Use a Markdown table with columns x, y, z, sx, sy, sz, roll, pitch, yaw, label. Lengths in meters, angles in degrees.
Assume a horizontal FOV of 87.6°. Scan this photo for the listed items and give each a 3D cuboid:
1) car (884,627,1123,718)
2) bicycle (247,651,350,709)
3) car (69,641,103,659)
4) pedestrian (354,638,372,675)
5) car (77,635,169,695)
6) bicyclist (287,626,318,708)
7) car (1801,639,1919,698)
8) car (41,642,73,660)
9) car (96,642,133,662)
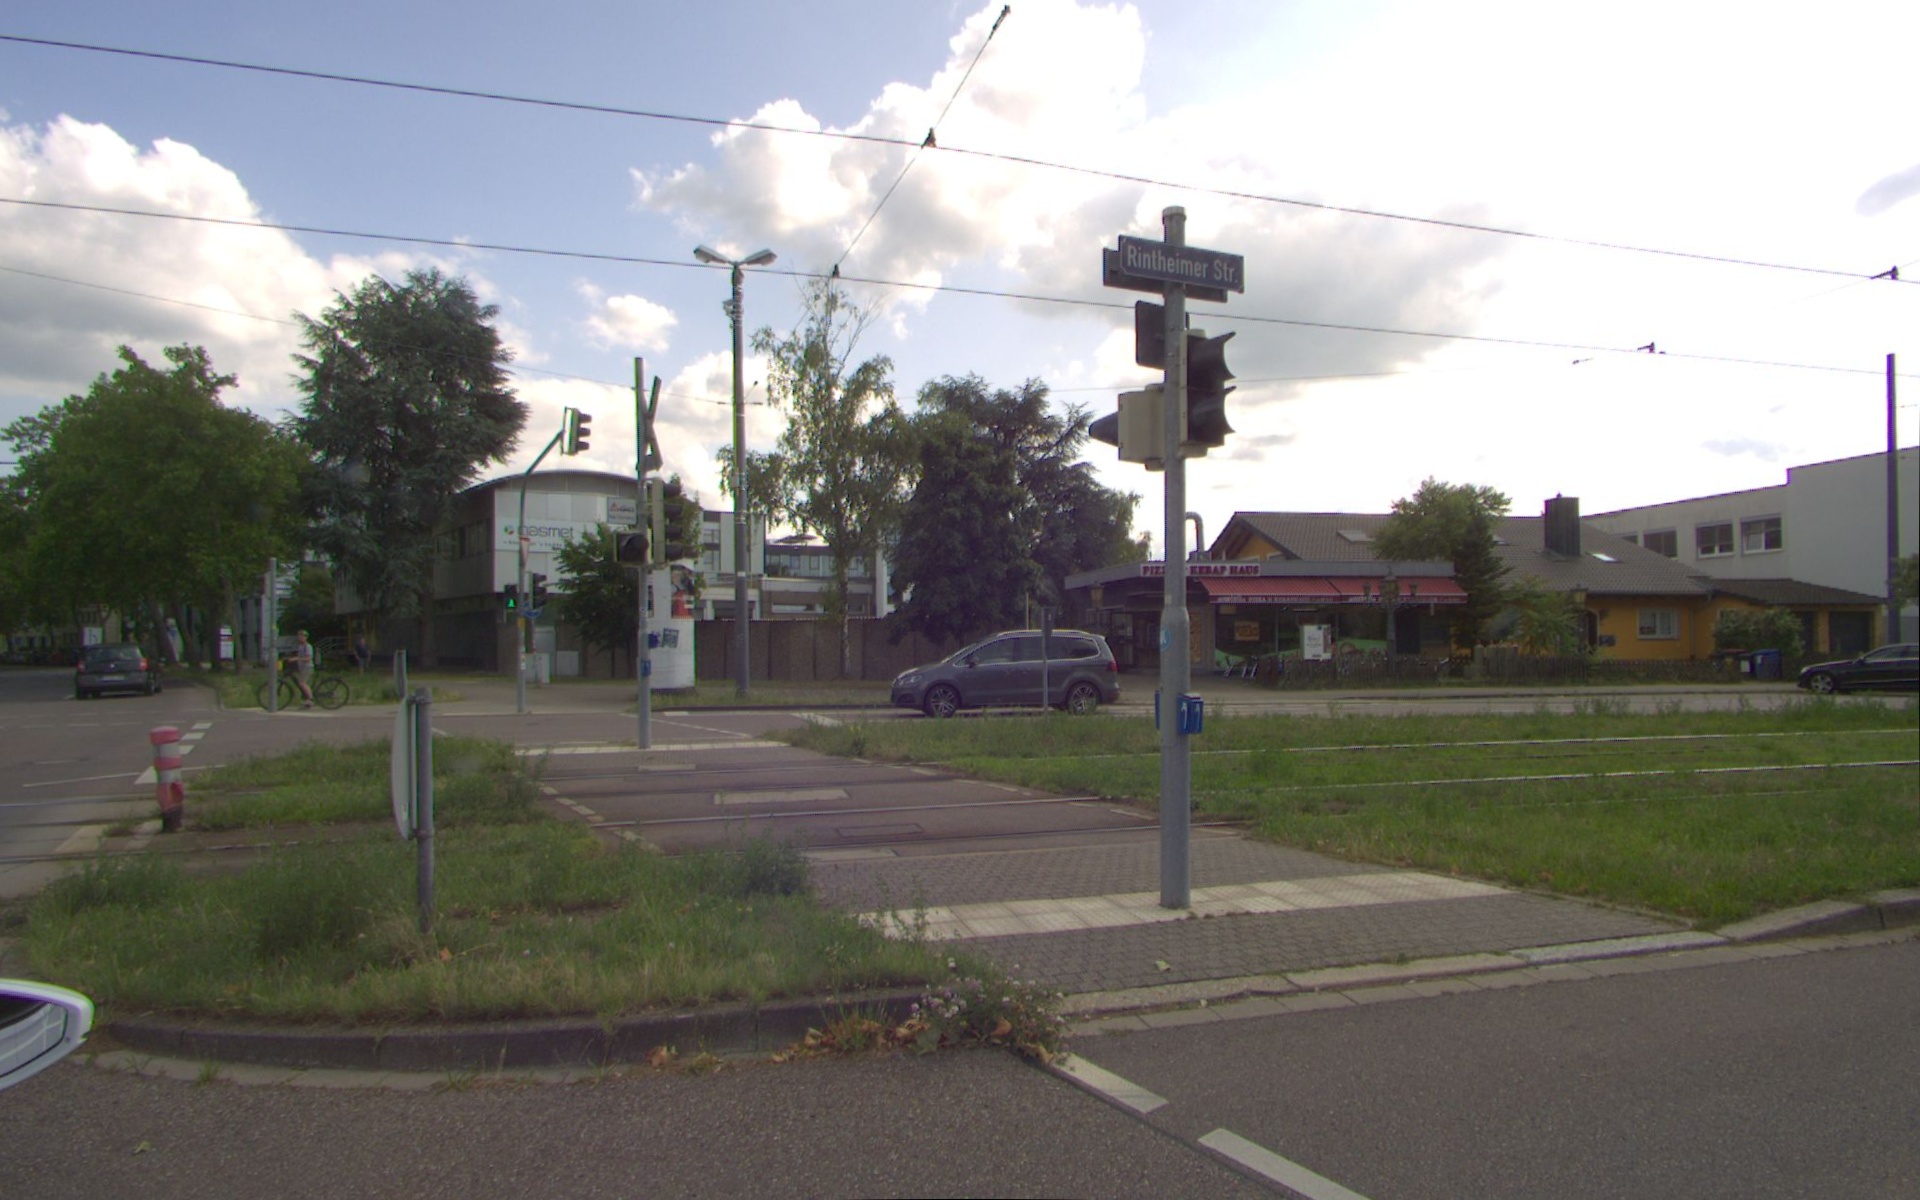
| x | y | z | sx | sy | sz | roll | pitch | yaw | label |
| --- | --- | --- | --- | --- | --- | --- | --- | --- | --- |
| 0.826 | 1.463 | 20.803 | 4.651 | 1.743 | 2.000 | 0 | -2 | -9 | car |
| -15.186 | 1.823 | 23.052 | 1.923 | 1.252 | 0.538 | 1 | 0 | -28 | bicycle |
| -84.363 | 4.804 | 96.609 | 3.954 | 1.595 | 1.984 | 0 | 0 | 41 | car |
| -26.175 | 2.454 | 43.926 | 0.615 | 1.590 | 0.555 | 0 | 0 | -38 | pedestrian |
| -25.309 | 1.938 | 30.411 | 1.713 | 1.651 | 4.028 | -1 | -2 | -34 | car |
| -15.146 | 1.533 | 23.068 | 0.537 | 1.833 | 0.538 | 1 | 0 | -28 | bicyclist |
| 26.577 | 1.875 | 27.778 | 1.971 | 1.599 | 4.560 | 1 | -3 | -30 | car |
| -91.321 | 5.163 | 101.248 | 3.954 | 1.595 | 1.984 | 0 | 0 | 41 | car |
| -75.208 | 4.613 | 89.021 | 3.954 | 1.595 | 1.984 | 0 | 0 | 41 | car |
